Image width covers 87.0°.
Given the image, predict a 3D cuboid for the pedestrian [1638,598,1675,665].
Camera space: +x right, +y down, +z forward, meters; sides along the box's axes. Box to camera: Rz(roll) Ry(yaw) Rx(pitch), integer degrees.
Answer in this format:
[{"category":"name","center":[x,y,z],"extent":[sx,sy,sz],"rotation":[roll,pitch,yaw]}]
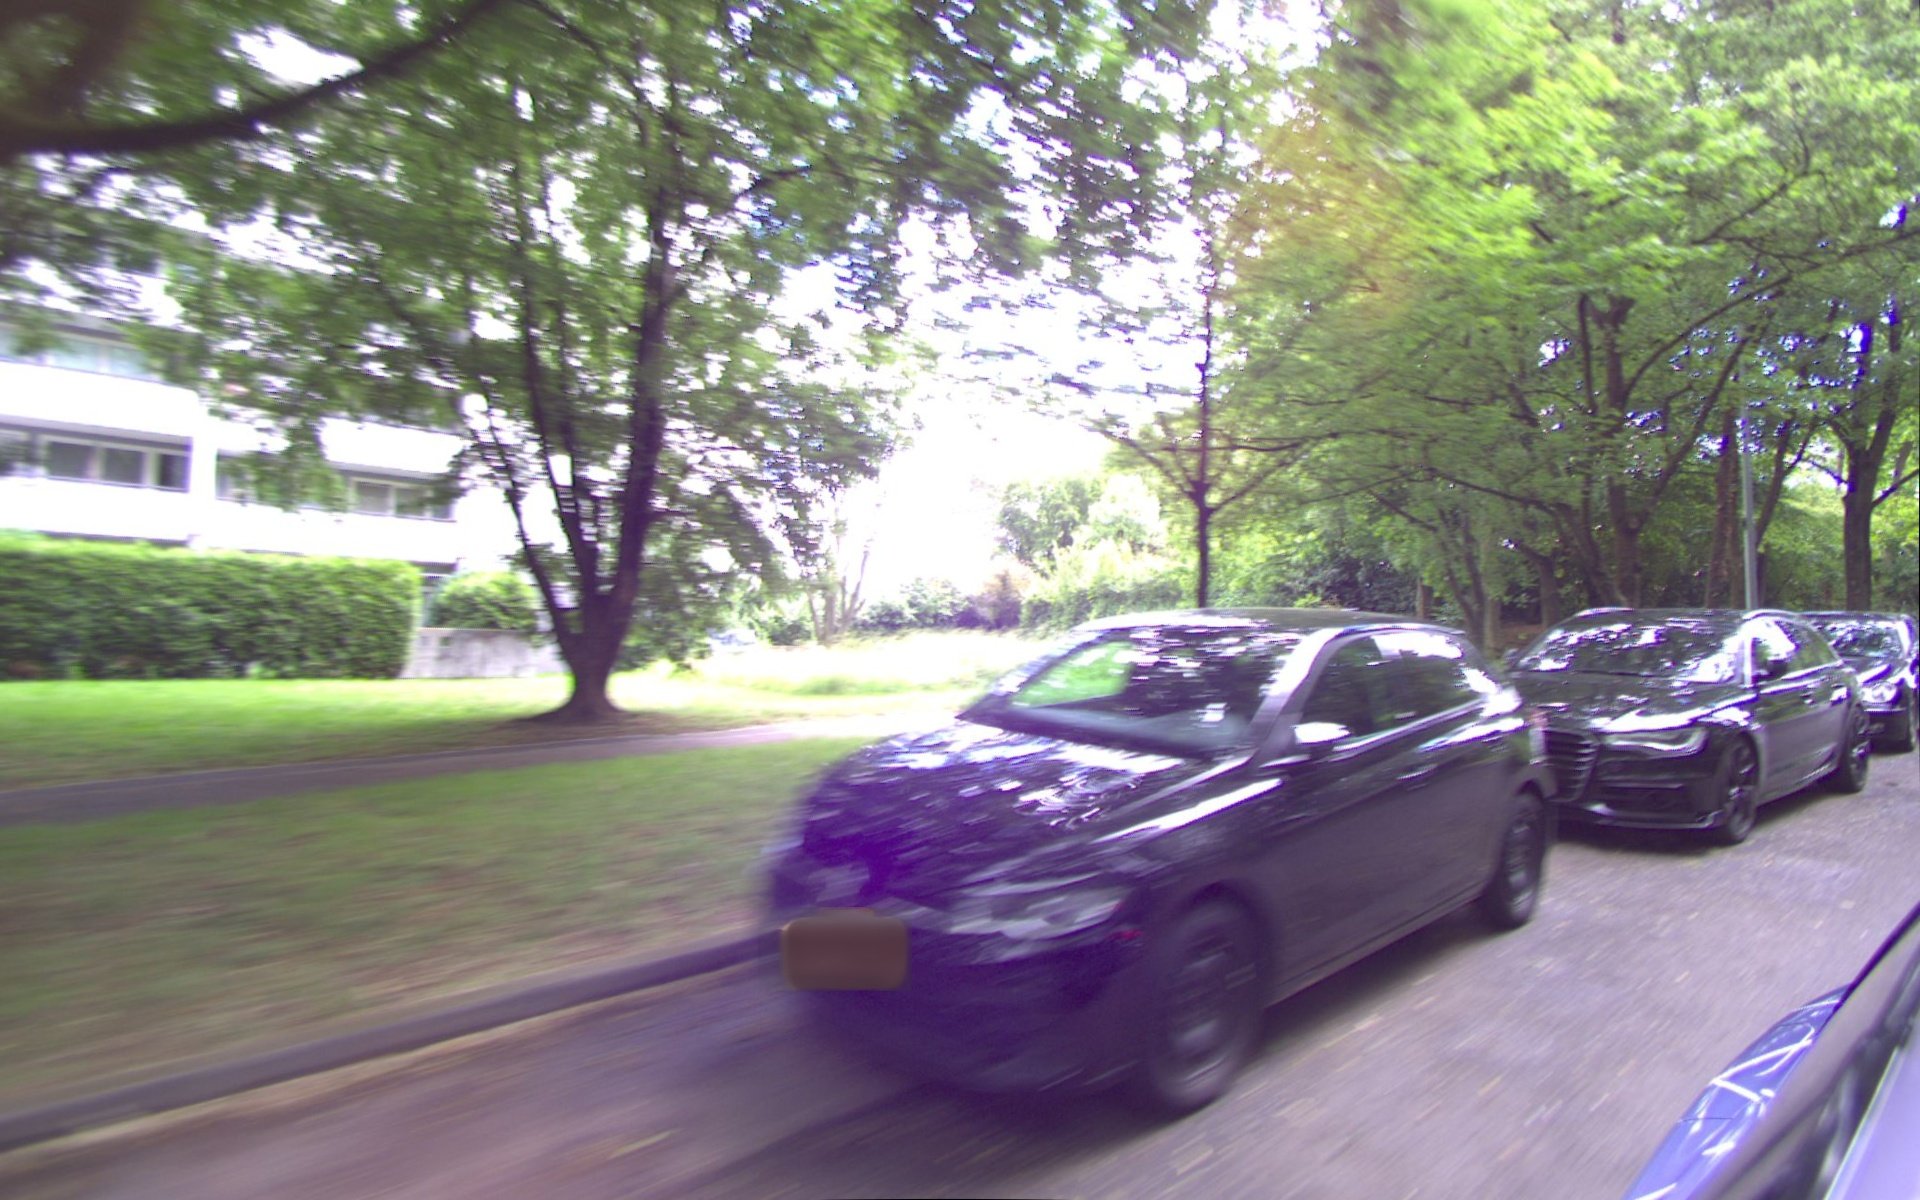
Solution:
[{"category":"pedestrian","center":[17.799,0.800,25.856],"extent":[0.858,1.673,0.581],"rotation":[1,-2,-43]}]

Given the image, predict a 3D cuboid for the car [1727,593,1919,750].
[{"category":"car","center":[10.258,0.718,11.530],"extent":[4.240,1.484,1.591],"rotation":[1,-1,-41]}]

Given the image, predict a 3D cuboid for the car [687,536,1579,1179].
[{"category":"car","center":[1.004,0.630,4.266],"extent":[3.830,1.483,1.684],"rotation":[1,-2,-42]}]

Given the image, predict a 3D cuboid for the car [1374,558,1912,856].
[{"category":"car","center":[5.359,0.624,7.718],"extent":[4.645,1.632,1.919],"rotation":[1,-2,-36]}]
